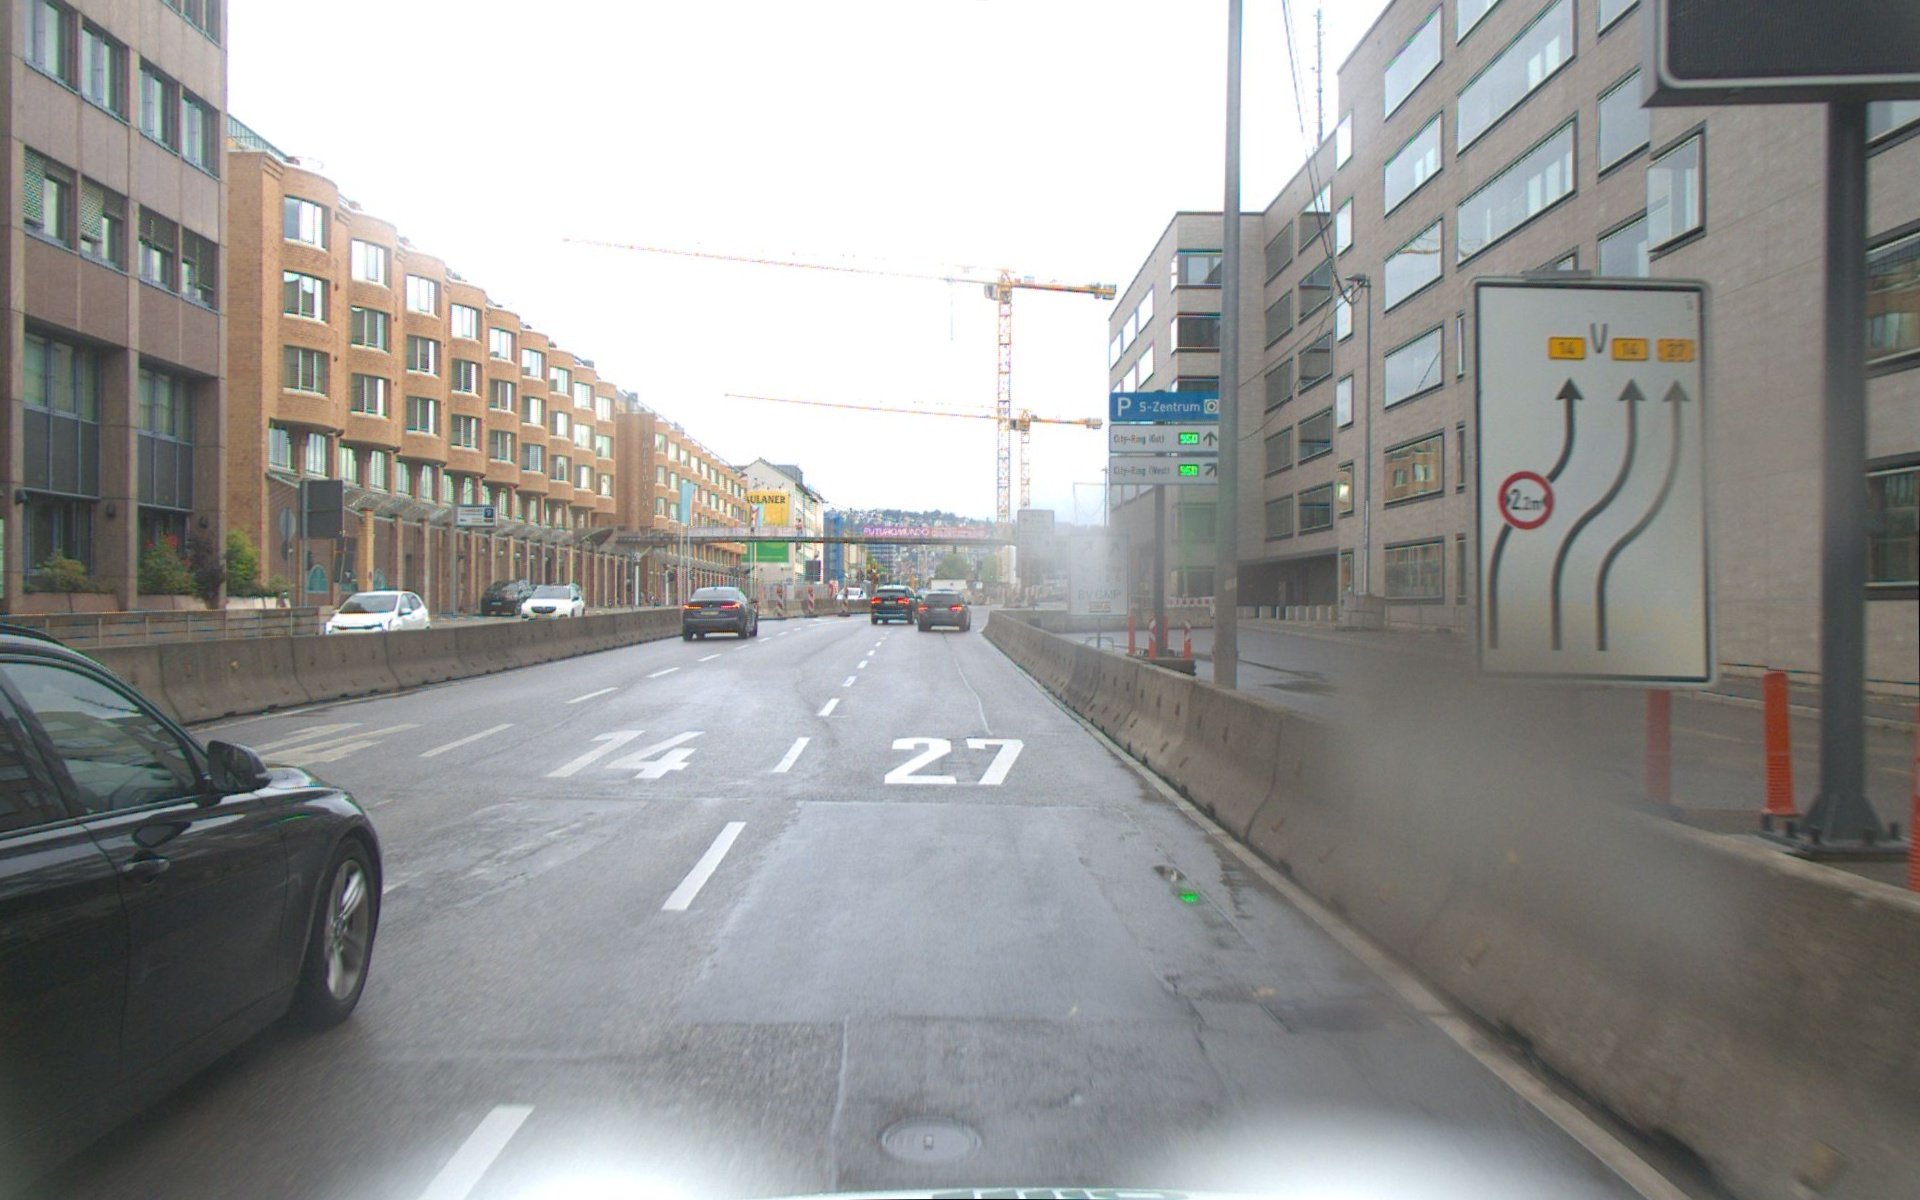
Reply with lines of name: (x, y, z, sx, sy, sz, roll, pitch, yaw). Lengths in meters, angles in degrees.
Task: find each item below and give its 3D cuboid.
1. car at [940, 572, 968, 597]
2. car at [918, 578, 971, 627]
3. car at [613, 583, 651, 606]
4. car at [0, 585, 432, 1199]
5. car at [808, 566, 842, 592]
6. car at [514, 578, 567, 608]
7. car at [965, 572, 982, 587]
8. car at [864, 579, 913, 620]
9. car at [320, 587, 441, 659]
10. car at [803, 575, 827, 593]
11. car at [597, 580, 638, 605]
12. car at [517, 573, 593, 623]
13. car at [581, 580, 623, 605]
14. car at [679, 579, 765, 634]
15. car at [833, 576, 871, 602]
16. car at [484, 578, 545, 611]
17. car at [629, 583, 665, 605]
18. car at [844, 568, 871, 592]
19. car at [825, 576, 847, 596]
car: (-0.422, -1.141, 120.696, 1.860, 1.723, 4.001, -1, 0, 2)
car: (-0.547, 0.078, 61.587, 1.861, 1.723, 4.000, -1, 0, 1)
car: (-24.372, -0.418, 122.962, 1.953, 1.648, 4.689, -1, 0, -1)
car: (-2.817, 0.688, 3.932, 1.755, 1.451, 4.612, 0, 0, -2)
car: (-9.127, -1.420, 112.363, 1.953, 1.648, 4.762, -1, 0, -1)
car: (-24.023, -0.412, 94.940, 1.953, 1.648, 4.317, -1, 0, -1)
car: (1.589, -2.426, 193.661, 1.860, 1.723, 4.001, -1, 0, 2)
car: (-3.114, -0.046, 72.726, 1.860, 1.723, 4.001, -1, 0, 2)
car: (-13.495, 0.494, 38.713, 1.570, 1.467, 3.657, -1, 2, -1)
car: (-14.037, -1.548, 160.129, 1.953, 1.648, 4.762, -1, 0, 0)
car: (-24.181, -0.541, 117.036, 1.953, 1.648, 4.689, -1, 0, -1)
car: (-14.838, -0.105, 60.772, 1.783, 1.647, 4.191, -1, 2, -1)
car: (-24.167, -0.531, 111.766, 1.953, 1.648, 4.317, -1, 0, -1)
car: (-6.687, 0.147, 46.859, 1.754, 1.451, 4.385, -1, 0, 0)
car: (-6.976, -0.722, 107.392, 1.952, 1.648, 4.765, -1, 0, 3)
car: (-23.569, -0.297, 87.651, 1.953, 1.648, 4.762, -1, 0, -1)
car: (-24.402, -0.493, 129.078, 1.953, 1.648, 4.689, -1, 0, -1)
car: (-8.288, -1.600, 133.942, 1.953, 1.858, 4.762, -1, 0, -1)
car: (-13.234, -1.460, 176.952, 1.953, 2.049, 4.000, -1, 0, 0)
